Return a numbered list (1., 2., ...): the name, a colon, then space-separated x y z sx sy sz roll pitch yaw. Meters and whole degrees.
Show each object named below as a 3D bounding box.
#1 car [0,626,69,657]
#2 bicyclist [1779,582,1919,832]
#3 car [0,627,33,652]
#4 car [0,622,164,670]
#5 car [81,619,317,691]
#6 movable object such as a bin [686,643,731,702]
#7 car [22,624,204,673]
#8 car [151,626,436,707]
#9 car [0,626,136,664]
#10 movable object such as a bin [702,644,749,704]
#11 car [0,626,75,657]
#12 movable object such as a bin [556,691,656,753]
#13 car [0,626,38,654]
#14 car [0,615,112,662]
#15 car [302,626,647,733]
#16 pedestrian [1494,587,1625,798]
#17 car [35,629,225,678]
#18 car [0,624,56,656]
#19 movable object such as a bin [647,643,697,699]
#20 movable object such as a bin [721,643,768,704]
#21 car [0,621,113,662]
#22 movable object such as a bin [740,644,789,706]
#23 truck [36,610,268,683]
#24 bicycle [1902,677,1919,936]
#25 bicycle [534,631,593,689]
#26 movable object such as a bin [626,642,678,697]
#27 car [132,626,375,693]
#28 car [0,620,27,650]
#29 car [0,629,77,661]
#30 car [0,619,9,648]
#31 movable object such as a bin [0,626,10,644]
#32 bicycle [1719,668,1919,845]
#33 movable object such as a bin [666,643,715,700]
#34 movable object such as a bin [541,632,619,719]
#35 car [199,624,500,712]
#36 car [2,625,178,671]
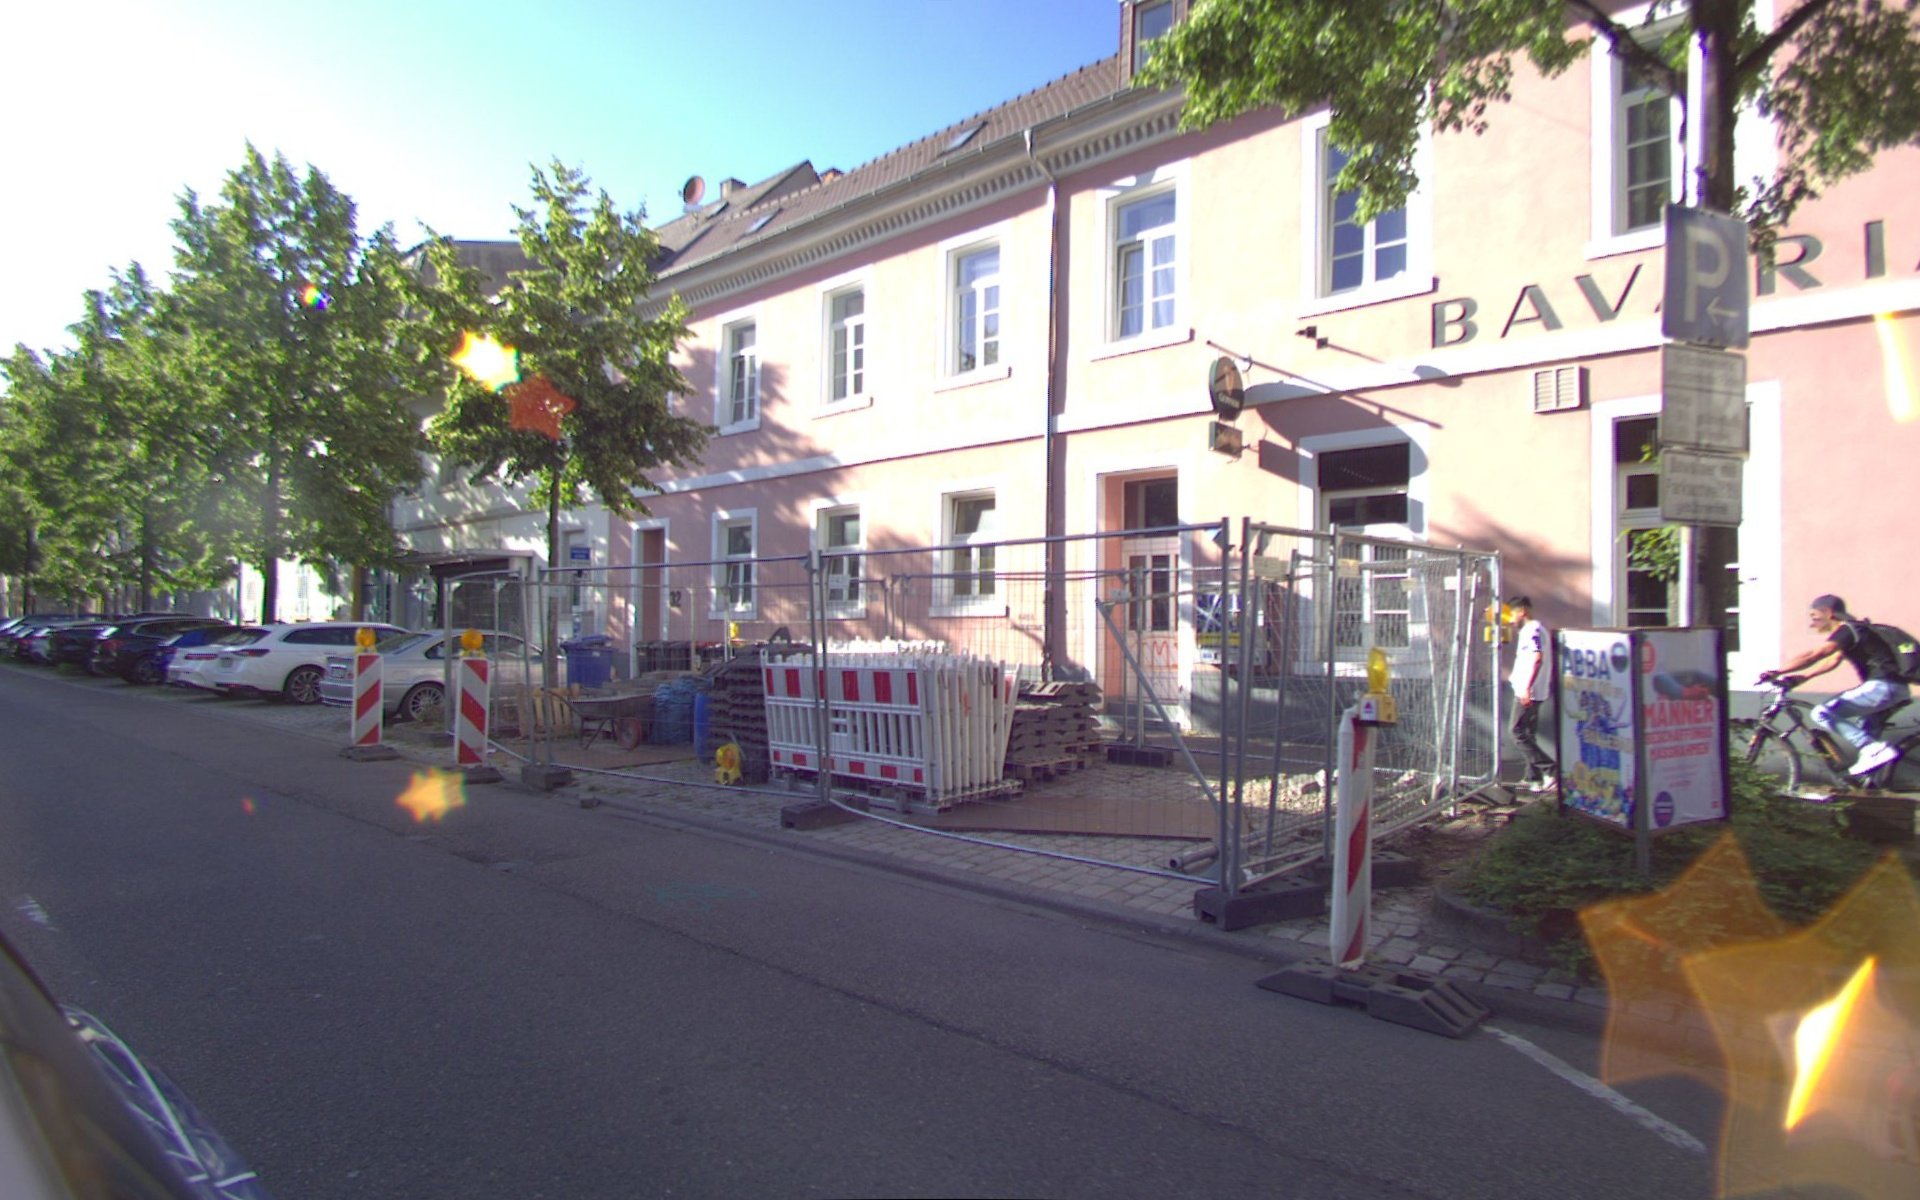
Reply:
1. car: -49.296 2.151 52.469 1.915 1.552 4.421 -1 -2 40
2. bicyclist: 6.225 0.685 6.741 0.757 1.572 1.042 2 -3 -39
3. car: -58.599 2.367 60.628 1.914 1.450 4.297 -1 -2 39
4. car: -33.442 1.688 38.587 1.808 1.725 4.630 -1 -2 42
5. car: -19.666 1.353 26.328 1.808 1.706 4.630 -1 -2 42
6. movable object such as a bin: -4.743 1.358 19.095 0.544 1.068 0.625 -2 -4 41
7. car: -29.189 1.624 35.000 1.808 1.584 4.630 -1 -2 42
8. car: -13.683 1.287 21.053 1.805 1.476 4.636 -1 -2 37
9. car: -37.291 1.816 41.975 1.682 1.470 4.598 -1 -2 40
10. movable object such as a bin: -4.334 1.354 18.702 0.544 1.068 0.625 -2 -4 41
11. car: -50.754 2.209 54.580 1.808 1.594 4.295 -1 -2 40
12. movable object such as a bin: -4.087 1.386 11.661 1.077 0.621 0.621 -1 -3 41
13. car: -54.840 2.244 56.800 1.916 1.552 4.417 -1 -2 43
14. car: -40.188 1.658 44.182 1.916 1.965 4.630 -1 -2 42
15. car: -7.502 1.144 16.098 1.805 1.423 4.636 -1 -2 37
16. pedestrian: 5.051 0.749 8.537 0.813 1.666 0.604 -2 -3 44
17. car: -27.280 1.705 33.406 1.808 1.474 4.630 -1 -2 42
18. car: -52.642 2.187 55.548 1.915 1.722 4.295 -1 -2 40
19. movable object such as a bin: -5.655 1.383 19.889 0.640 1.068 0.688 -2 -4 41
20. movable object such as a bin: -3.901 1.325 18.322 0.544 1.068 0.625 -2 -4 41
21. car: -42.034 1.872 46.603 1.916 1.785 4.418 -1 -2 42
22. movable object such as a bin: -3.470 1.324 17.960 0.544 1.068 0.625 -2 -4 41
23. truck: -23.698 1.363 29.884 1.998 1.953 5.033 -2 -3 40
24. bicycle: 4.247 0.940 3.870 0.598 1.179 1.839 -1 -1 33
25. bicycle: -9.000 1.345 22.926 1.627 1.255 0.499 -1 -3 40
26. movable object such as a bin: -6.191 1.392 20.351 0.731 1.068 0.688 -2 -4 42
27. car: -17.253 1.397 24.917 1.808 1.474 4.630 -1 -2 42
28. car: -60.639 2.188 62.394 1.912 1.848 4.301 -1 -2 35
29. car: -47.277 2.233 50.715 1.917 1.552 4.416 -1 -2 44
30. car: -64.800 2.172 65.546 1.930 1.941 4.523 -1 -2 43
31. movable object such as a bin: -79.824 2.912 84.179 1.382 1.456 1.121 -1 -2 44
32. bicycle: 6.306 1.017 6.658 0.757 1.067 1.959 2 -3 -39
33. movable object such as a bin: -5.186 1.369 19.466 0.574 1.068 0.688 -2 -4 41
34. movable object such as a bin: -5.463 1.067 14.574 0.743 1.195 0.725 -1 -3 32
35. car: -11.580 1.208 19.518 1.805 1.476 4.636 -1 -2 37
36. car: -31.411 1.693 36.650 1.808 1.531 4.630 -1 -2 42
